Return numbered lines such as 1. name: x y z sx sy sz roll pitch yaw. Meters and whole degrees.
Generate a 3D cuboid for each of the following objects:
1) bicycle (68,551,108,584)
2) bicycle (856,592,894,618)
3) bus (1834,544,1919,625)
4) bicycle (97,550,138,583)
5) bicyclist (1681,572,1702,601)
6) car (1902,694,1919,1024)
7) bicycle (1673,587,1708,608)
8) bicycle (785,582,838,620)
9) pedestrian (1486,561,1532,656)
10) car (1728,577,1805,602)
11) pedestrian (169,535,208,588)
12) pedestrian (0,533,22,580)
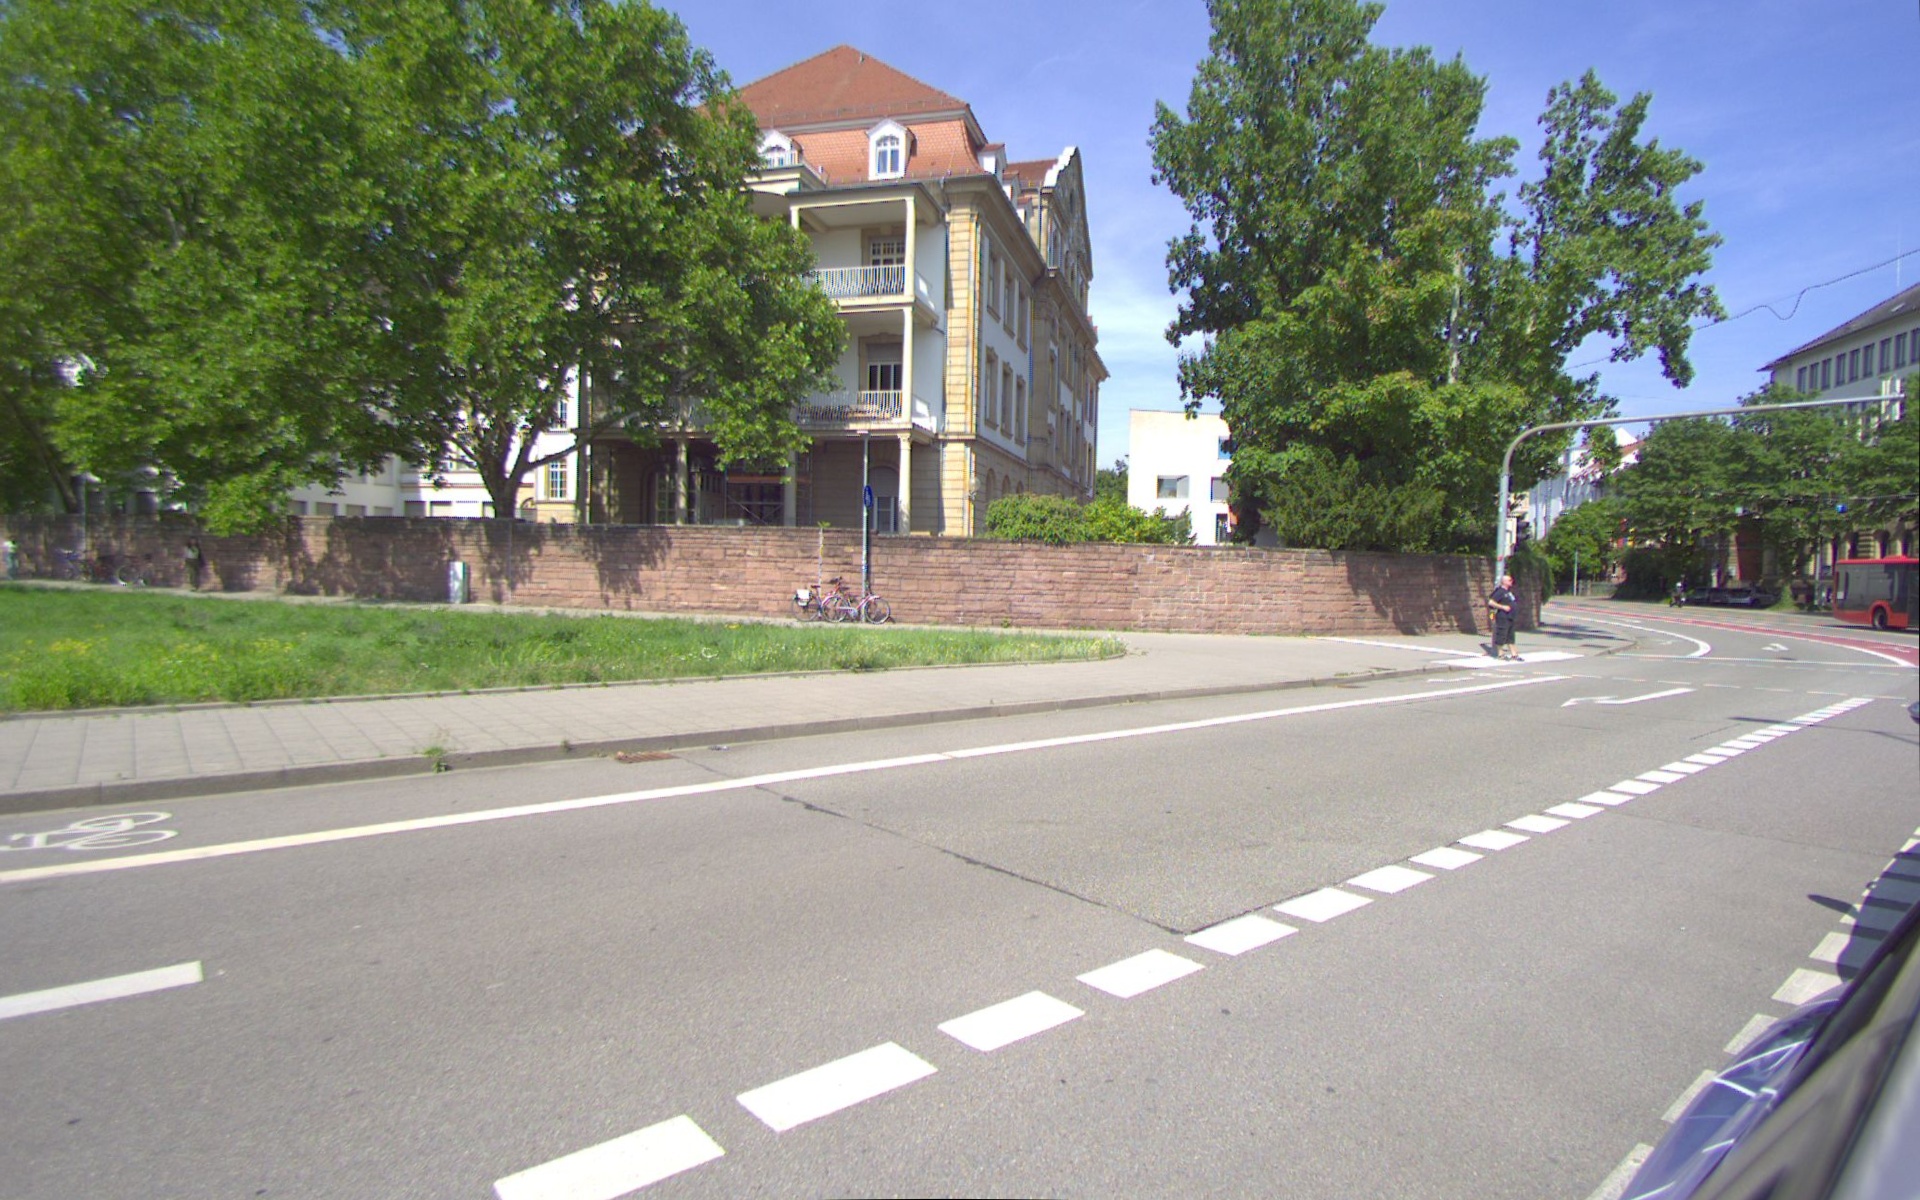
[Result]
1. bicycle: -28.905 -1.095 33.557 1.432 1.046 0.444 3 2 24
2. bicycle: -2.101 0.122 25.042 0.929 0.609 0.275 2 2 -2
3. bus: 38.167 -0.593 37.704 3.087 3.133 12.361 0 1 14
4. bicycle: -27.385 -1.091 32.877 1.432 1.046 0.444 3 2 24
5. bicyclist: 50.857 -0.941 70.370 0.847 2.039 1.230 0 0 16
6. car: 5.293 0.643 3.990 4.077 1.605 1.688 0 3 -39
7. bicycle: 50.849 -0.156 70.454 0.819 1.420 3.452 0 0 16
8. bicycle: -3.626 0.031 24.659 1.202 0.894 0.395 1 2 -21
9. pedestrian: 12.112 0.173 22.329 0.790 2.038 0.608 2 1 35
10. car: 59.517 -0.771 74.751 3.941 1.682 1.993 0 3 14
11. pedestrian: -23.212 -1.152 30.447 0.900 1.567 0.501 2 2 13
12. pedestrian: -32.470 -1.478 34.597 0.700 1.597 0.516 3 3 41
